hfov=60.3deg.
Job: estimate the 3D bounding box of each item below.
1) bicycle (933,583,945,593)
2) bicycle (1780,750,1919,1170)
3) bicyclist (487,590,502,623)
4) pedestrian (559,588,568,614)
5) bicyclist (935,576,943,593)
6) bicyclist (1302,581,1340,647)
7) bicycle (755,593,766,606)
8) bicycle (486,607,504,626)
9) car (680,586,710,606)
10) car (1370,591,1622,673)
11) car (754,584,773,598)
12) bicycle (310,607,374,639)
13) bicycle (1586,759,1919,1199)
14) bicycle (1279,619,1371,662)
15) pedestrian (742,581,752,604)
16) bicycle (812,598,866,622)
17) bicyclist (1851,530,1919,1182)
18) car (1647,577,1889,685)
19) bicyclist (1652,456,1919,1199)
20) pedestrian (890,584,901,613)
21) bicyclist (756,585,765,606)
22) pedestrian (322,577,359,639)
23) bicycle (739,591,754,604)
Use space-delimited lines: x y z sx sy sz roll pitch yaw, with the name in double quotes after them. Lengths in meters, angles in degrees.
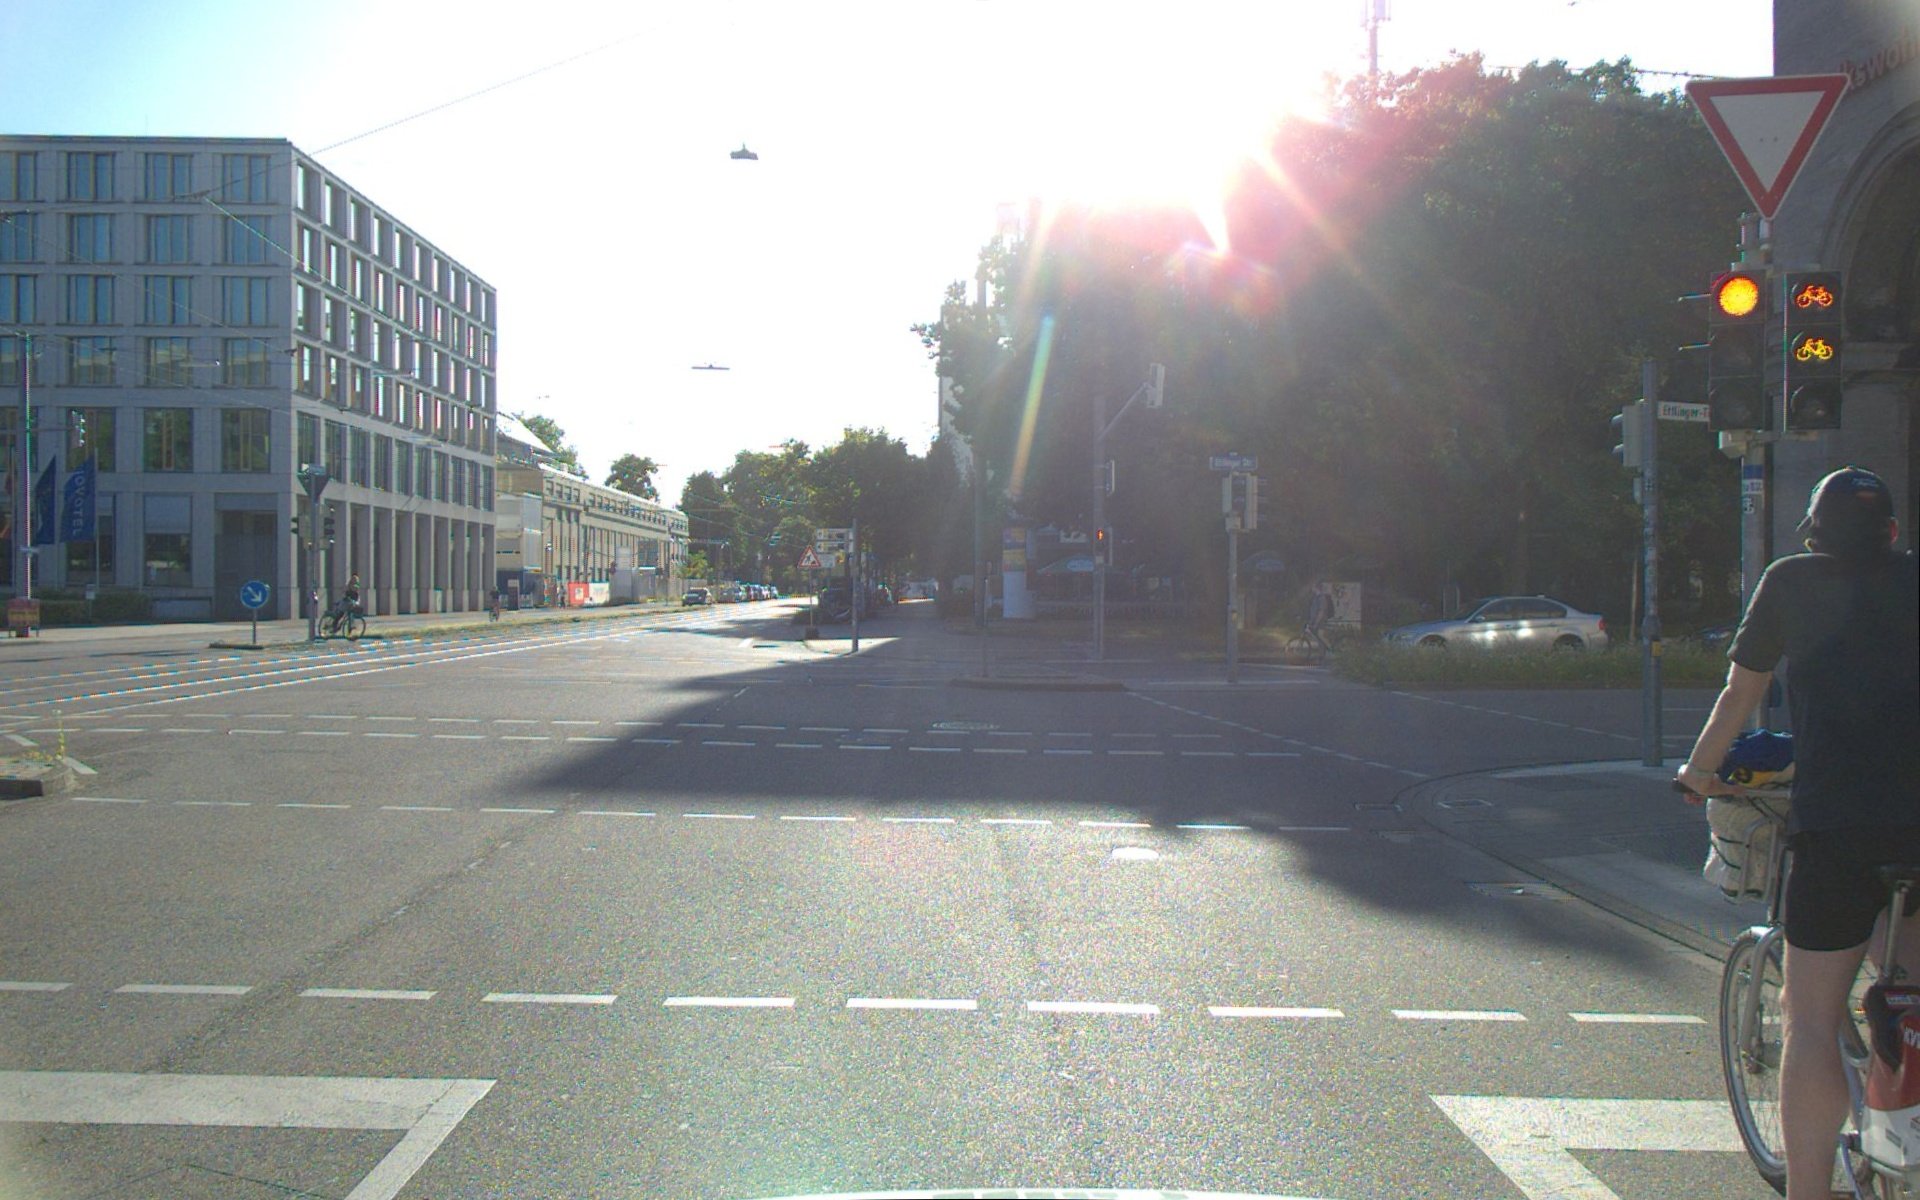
-2.582 -1.463 200.487 0.875 1.240 2.785 1 0 -12 "bicycle"
2.887 1.014 4.379 0.570 1.062 1.747 0 0 0 "bicycle"
-21.509 0.283 76.490 0.484 1.525 0.666 0 0 2 "bicyclist"
-29.468 0.079 122.913 0.576 1.922 0.478 1 -1 -1 "pedestrian"
-2.565 -1.871 200.513 0.875 2.049 0.746 1 -1 -12 "bicyclist"
7.959 0.309 36.483 0.731 1.431 0.702 1 -1 6 "bicyclist"
-19.334 -0.044 160.118 0.735 1.226 3.107 1 0 -2 "bicycle"
-21.508 0.742 76.509 0.484 0.854 1.156 -1 0 2 "bicycle"
-21.674 -0.339 135.415 1.954 1.627 3.997 0 1 -3 "car"
10.853 0.634 33.716 4.483 1.543 2.000 1 0 -1 "car"
-23.058 -1.054 194.346 1.954 1.673 3.997 0 0 -4 "car"
-16.294 0.608 43.596 1.679 0.837 0.573 0 0 27 "bicycle"
2.141 0.998 3.904 0.610 1.062 1.746 0 0 -2 "bicycle"
8.038 0.885 36.476 1.902 0.905 0.718 1 0 5 "bicycle"
-19.939 -0.695 154.659 0.735 2.099 1.050 1 -1 5 "pedestrian"
-4.911 0.395 67.125 2.201 0.956 0.653 0 0 -6 "bicycle"
2.887 0.693 4.344 0.572 1.769 0.950 0 0 0 "bicyclist"
16.232 0.615 33.370 3.905 2.049 2.000 1 0 0 "car"
2.144 0.570 3.897 0.611 1.745 0.912 0 0 -3 "bicyclist"
-3.792 -0.080 97.604 0.566 1.719 0.584 0 0 -8 "pedestrian"
-19.319 -0.425 160.001 0.735 1.953 1.214 1 0 -2 "bicyclist"
-16.326 0.211 43.617 0.727 1.623 0.573 0 0 26 "pedestrian"
-19.941 -0.251 154.659 0.735 1.226 3.109 1 0 5 "bicycle"
